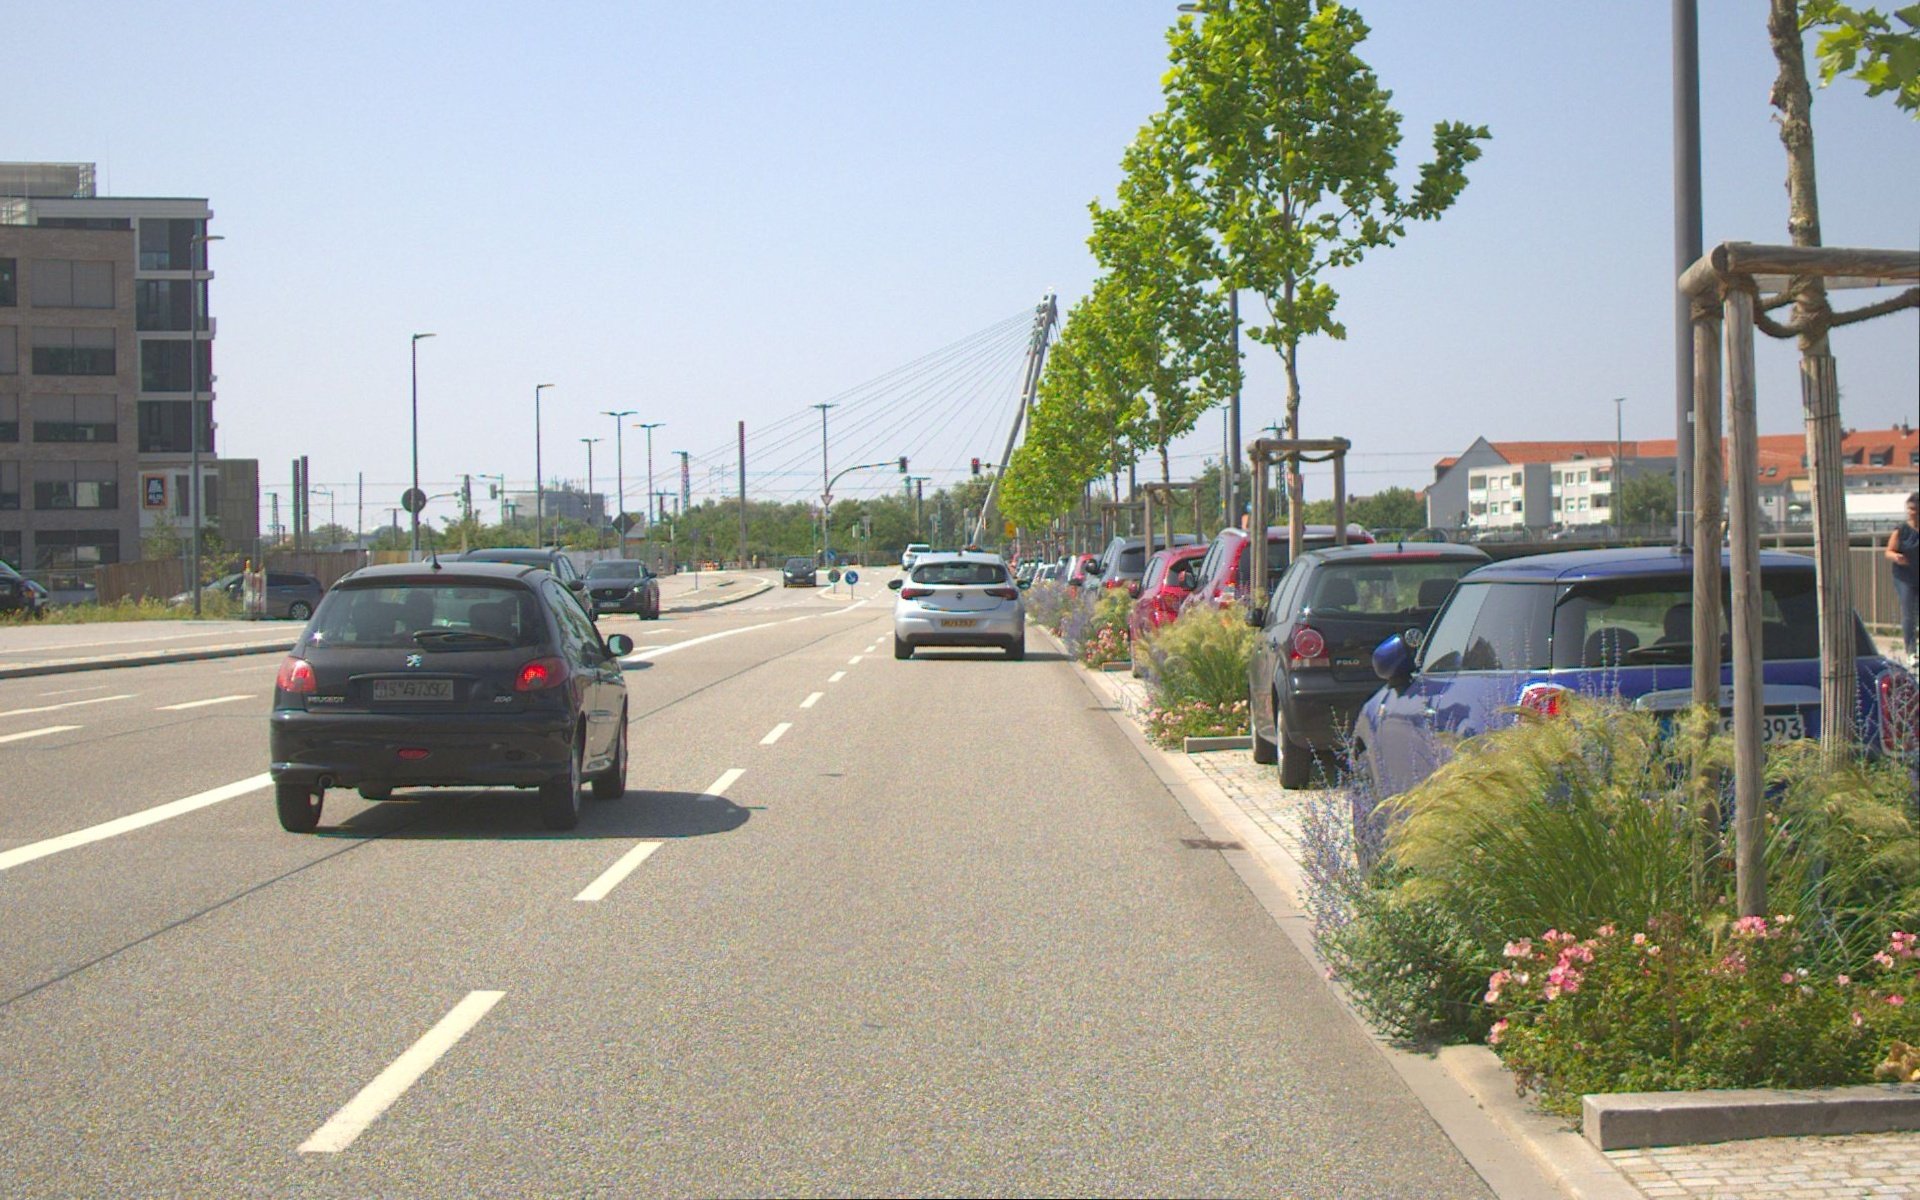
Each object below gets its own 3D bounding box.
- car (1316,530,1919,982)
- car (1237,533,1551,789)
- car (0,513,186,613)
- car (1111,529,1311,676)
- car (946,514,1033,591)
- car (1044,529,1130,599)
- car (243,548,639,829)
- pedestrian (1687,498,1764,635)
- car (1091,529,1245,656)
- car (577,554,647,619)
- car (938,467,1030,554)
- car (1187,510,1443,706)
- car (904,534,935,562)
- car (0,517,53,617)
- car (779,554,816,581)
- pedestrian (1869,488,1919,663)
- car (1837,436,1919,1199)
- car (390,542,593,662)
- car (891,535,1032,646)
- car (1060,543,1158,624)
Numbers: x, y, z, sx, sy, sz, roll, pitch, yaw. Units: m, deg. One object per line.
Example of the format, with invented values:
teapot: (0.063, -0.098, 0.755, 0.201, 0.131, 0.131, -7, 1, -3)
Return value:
car: (2.552, 0.486, 13.689, 1.908, 1.474, 4.158, -1, 1, 2)
car: (2.728, 0.326, 22.301, 1.620, 1.474, 3.824, -1, 1, 1)
car: (-20.499, -0.825, 77.860, 5.442, 2.166, 2.396, -1, 1, -3)
car: (2.720, 0.001, 38.011, 1.603, 1.486, 3.819, -2, 1, -4)
car: (0.665, -1.011, 74.967, 1.778, 1.563, 4.000, 1, -1, 2)
car: (2.976, -0.833, 80.040, 1.908, 1.572, 4.157, -1, 0, 3)
car: (-2.855, 0.436, 19.621, 1.619, 1.411, 3.727, 1, 1, 1)
pedestrian: (9.682, -0.423, 43.491, 0.780, 1.699, 0.742, 1, 0, 1)
car: (2.805, -0.132, 47.213, 1.734, 1.603, 4.241, -2, 1, -1)
car: (-8.678, -0.314, 85.931, 1.579, 1.557, 3.674, 1, -1, -4)
car: (0.507, -1.965, 76.384, 1.793, 1.744, 4.000, 1, -1, -3)
car: (3.102, 0.011, 30.863, 1.908, 1.611, 4.548, -1, 1, 1)
car: (-2.467, -3.183, 211.583, 1.854, 1.644, 4.000, 1, 1, 0)
car: (-23.340, -0.719, 76.116, 5.882, 2.158, 2.396, -1, 2, -2)
car: (-8.442, -1.695, 178.860, 1.704, 1.347, 4.456, -1, 0, 0)
pedestrian: (9.385, -0.229, 33.769, 0.732, 1.699, 0.651, 1, -1, 1)
car: (2.596, 0.544, 3.950, 1.872, 1.621, 4.877, -1, 1, -1)
car: (-5.831, -0.003, 43.254, 1.787, 1.393, 4.571, 1, 1, 2)
car: (0.060, -0.147, 47.969, 1.778, 1.437, 4.000, 1, 1, 2)
car: (2.864, -0.341, 66.657, 1.717, 1.446, 4.000, 1, 2, 0)
